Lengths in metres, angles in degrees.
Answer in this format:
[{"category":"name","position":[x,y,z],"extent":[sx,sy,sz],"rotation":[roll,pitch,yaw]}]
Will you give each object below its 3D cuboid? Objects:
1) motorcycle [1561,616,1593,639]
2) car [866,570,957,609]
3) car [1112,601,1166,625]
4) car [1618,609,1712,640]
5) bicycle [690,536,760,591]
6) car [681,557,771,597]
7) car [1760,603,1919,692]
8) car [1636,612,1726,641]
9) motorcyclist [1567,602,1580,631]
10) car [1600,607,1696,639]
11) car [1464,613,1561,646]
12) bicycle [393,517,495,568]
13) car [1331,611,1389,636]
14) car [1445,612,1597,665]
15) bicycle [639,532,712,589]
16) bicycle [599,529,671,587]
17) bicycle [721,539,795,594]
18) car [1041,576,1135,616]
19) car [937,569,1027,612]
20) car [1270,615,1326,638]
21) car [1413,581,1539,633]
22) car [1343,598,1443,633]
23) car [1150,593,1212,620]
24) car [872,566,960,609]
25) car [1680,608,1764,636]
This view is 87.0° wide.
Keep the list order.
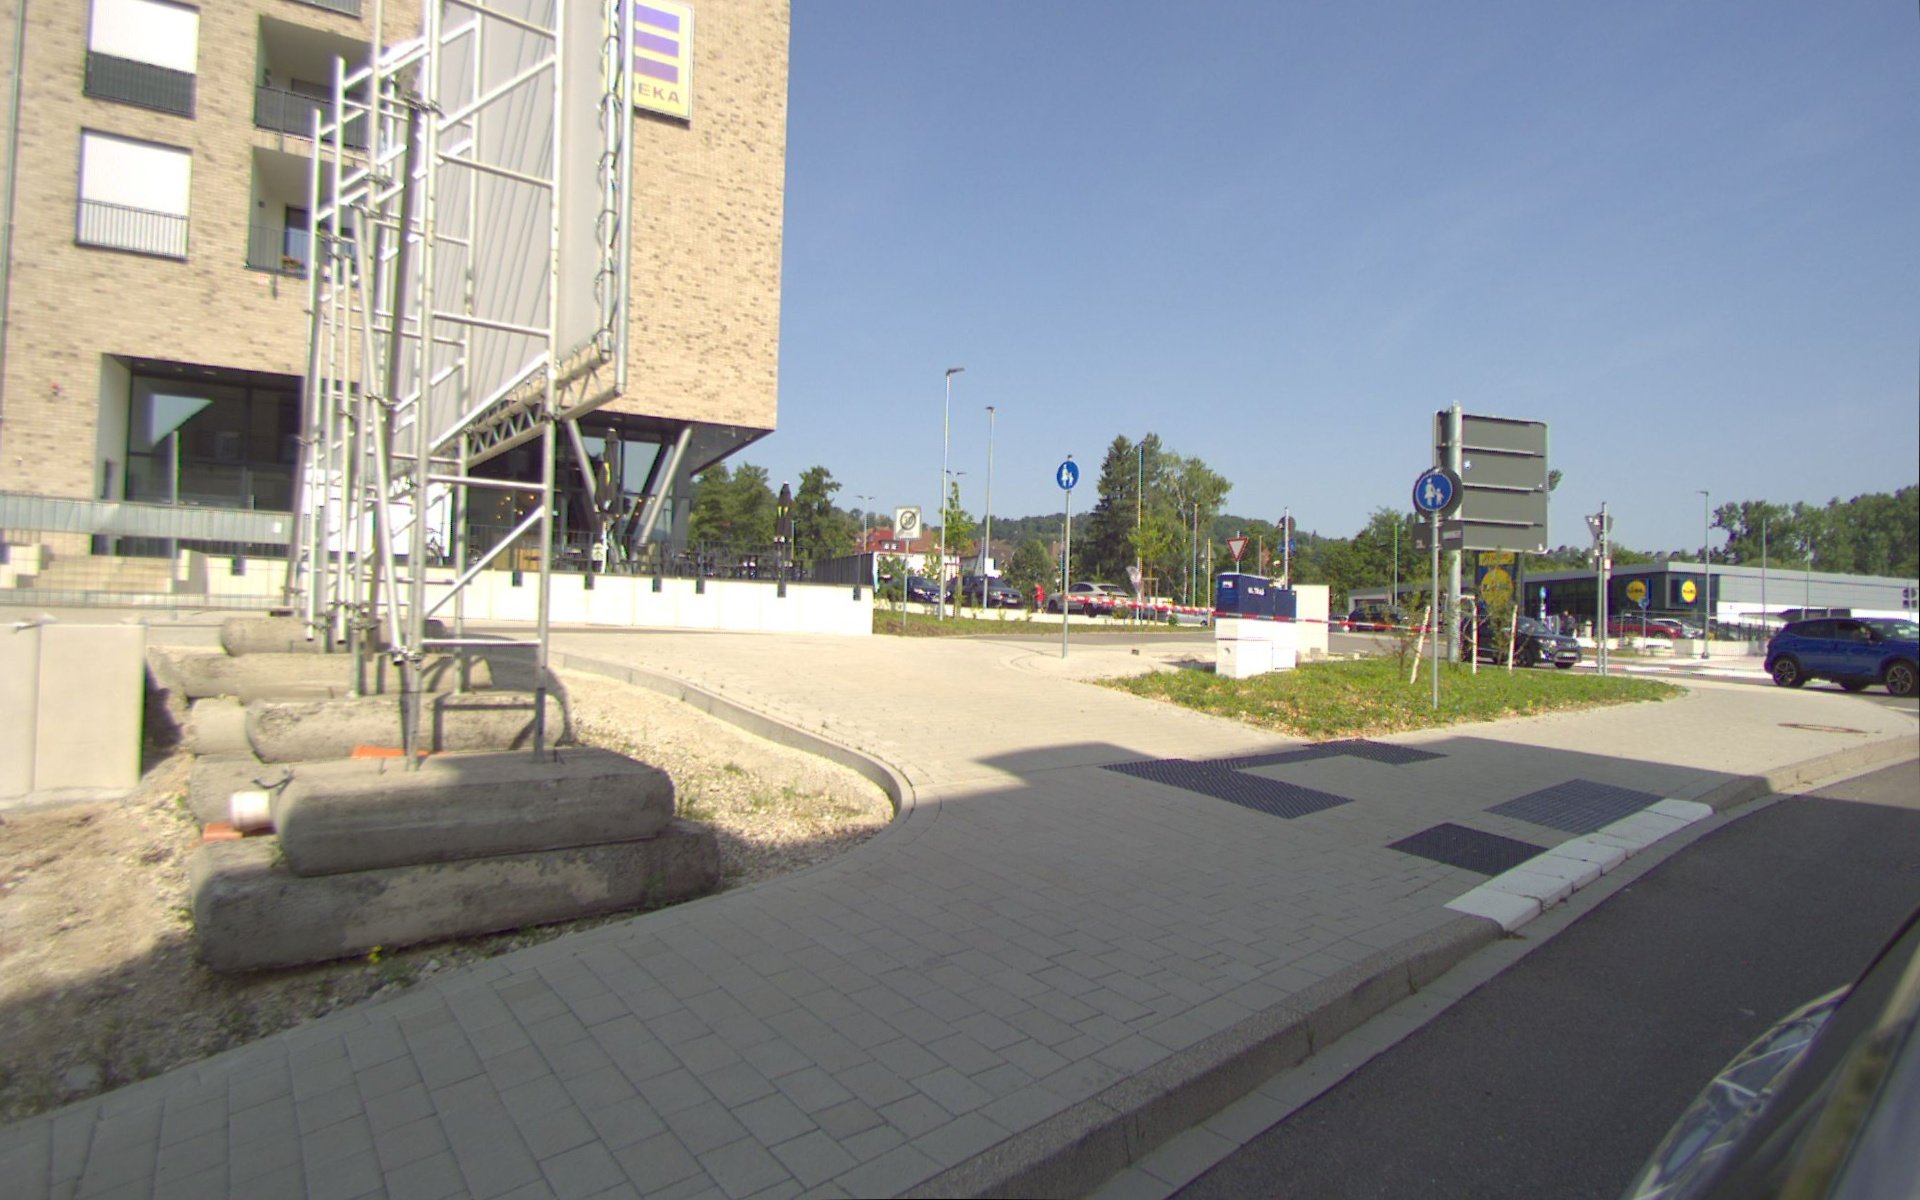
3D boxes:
[{"category":"motorcycle","position":[33.922,1.525,55.643],"extent":[0.579,1.207,1.901],"rotation":[2,-3,1]},{"category":"car","position":[-2.610,-0.530,54.934],"extent":[4.484,1.905,2.002],"rotation":[3,-3,-27]},{"category":"car","position":[11.549,0.860,65.268],"extent":[3.300,1.392,1.526],"rotation":[3,-3,-33]},{"category":"car","position":[39.754,1.426,57.142],"extent":[1.747,1.595,4.016],"rotation":[4,-5,-39]},{"category":"bicycle","position":[-5.822,-0.865,24.948],"extent":[0.752,1.159,2.241],"rotation":[4,-5,-39]},{"category":"car","position":[-9.564,-0.920,41.404],"extent":[3.267,1.369,1.491],"rotation":[3,-5,-33]},{"category":"car","position":[19.480,0.946,21.111],"extent":[1.849,1.684,4.358],"rotation":[1,1,-5]},{"category":"car","position":[41.983,1.570,58.997],"extent":[1.674,1.595,3.990],"rotation":[4,-5,-42]},{"category":"motorcyclist","position":[34.066,0.916,56.172],"extent":[0.509,1.563,0.576],"rotation":[-2,-5,27]},{"category":"car","position":[37.869,1.318,55.781],"extent":[1.747,1.595,4.016],"rotation":[4,-5,-39]},{"category":"car","position":[29.897,1.631,54.903],"extent":[1.794,1.623,4.483],"rotation":[2,-4,-22]},{"category":"bicycle","position":[-12.892,-1.421,25.348],"extent":[2.198,1.059,0.694],"rotation":[3,-5,-28]},{"category":"car","position":[27.917,1.679,70.661],"extent":[3.708,1.595,1.668],"rotation":[2,-4,-25]},{"category":"car","position":[17.877,1.176,32.470],"extent":[1.609,1.410,4.239],"rotation":[2,0,-19]},{"category":"bicycle","position":[-6.902,-0.925,24.495],"extent":[0.841,1.159,2.241],"rotation":[4,-5,-39]},{"category":"bicycle","position":[-7.726,-0.963,23.998],"extent":[0.841,1.159,2.241],"rotation":[4,-5,-39]},{"category":"bicycle","position":[-5.084,-0.813,25.360],"extent":[0.841,1.159,2.241],"rotation":[4,-5,-39]},{"category":"car","position":[5.801,-0.207,46.433],"extent":[1.819,1.575,4.830],"rotation":[5,-1,-26]},{"category":"car","position":[0.875,-0.441,43.388],"extent":[1.820,1.575,4.467],"rotation":[5,-1,-28]},{"category":"car","position":[25.238,1.997,75.563],"extent":[3.708,1.595,1.765],"rotation":[2,-4,-25]},{"category":"car","position":[27.358,0.453,53.978],"extent":[2.017,2.415,6.100],"rotation":[2,-4,-22]},{"category":"car","position":[22.233,0.823,52.166],"extent":[1.882,1.551,4.867],"rotation":[2,-4,-20]},{"category":"car","position":[13.784,0.429,63.048],"extent":[3.556,1.464,1.527],"rotation":[2,-4,-24]},{"category":"car","position":[-1.900,-0.548,42.199],"extent":[1.820,1.575,4.467],"rotation":[5,-1,-28]},{"category":"car","position":[48.053,1.428,63.872],"extent":[1.674,1.595,3.990],"rotation":[4,-5,-42]}]
